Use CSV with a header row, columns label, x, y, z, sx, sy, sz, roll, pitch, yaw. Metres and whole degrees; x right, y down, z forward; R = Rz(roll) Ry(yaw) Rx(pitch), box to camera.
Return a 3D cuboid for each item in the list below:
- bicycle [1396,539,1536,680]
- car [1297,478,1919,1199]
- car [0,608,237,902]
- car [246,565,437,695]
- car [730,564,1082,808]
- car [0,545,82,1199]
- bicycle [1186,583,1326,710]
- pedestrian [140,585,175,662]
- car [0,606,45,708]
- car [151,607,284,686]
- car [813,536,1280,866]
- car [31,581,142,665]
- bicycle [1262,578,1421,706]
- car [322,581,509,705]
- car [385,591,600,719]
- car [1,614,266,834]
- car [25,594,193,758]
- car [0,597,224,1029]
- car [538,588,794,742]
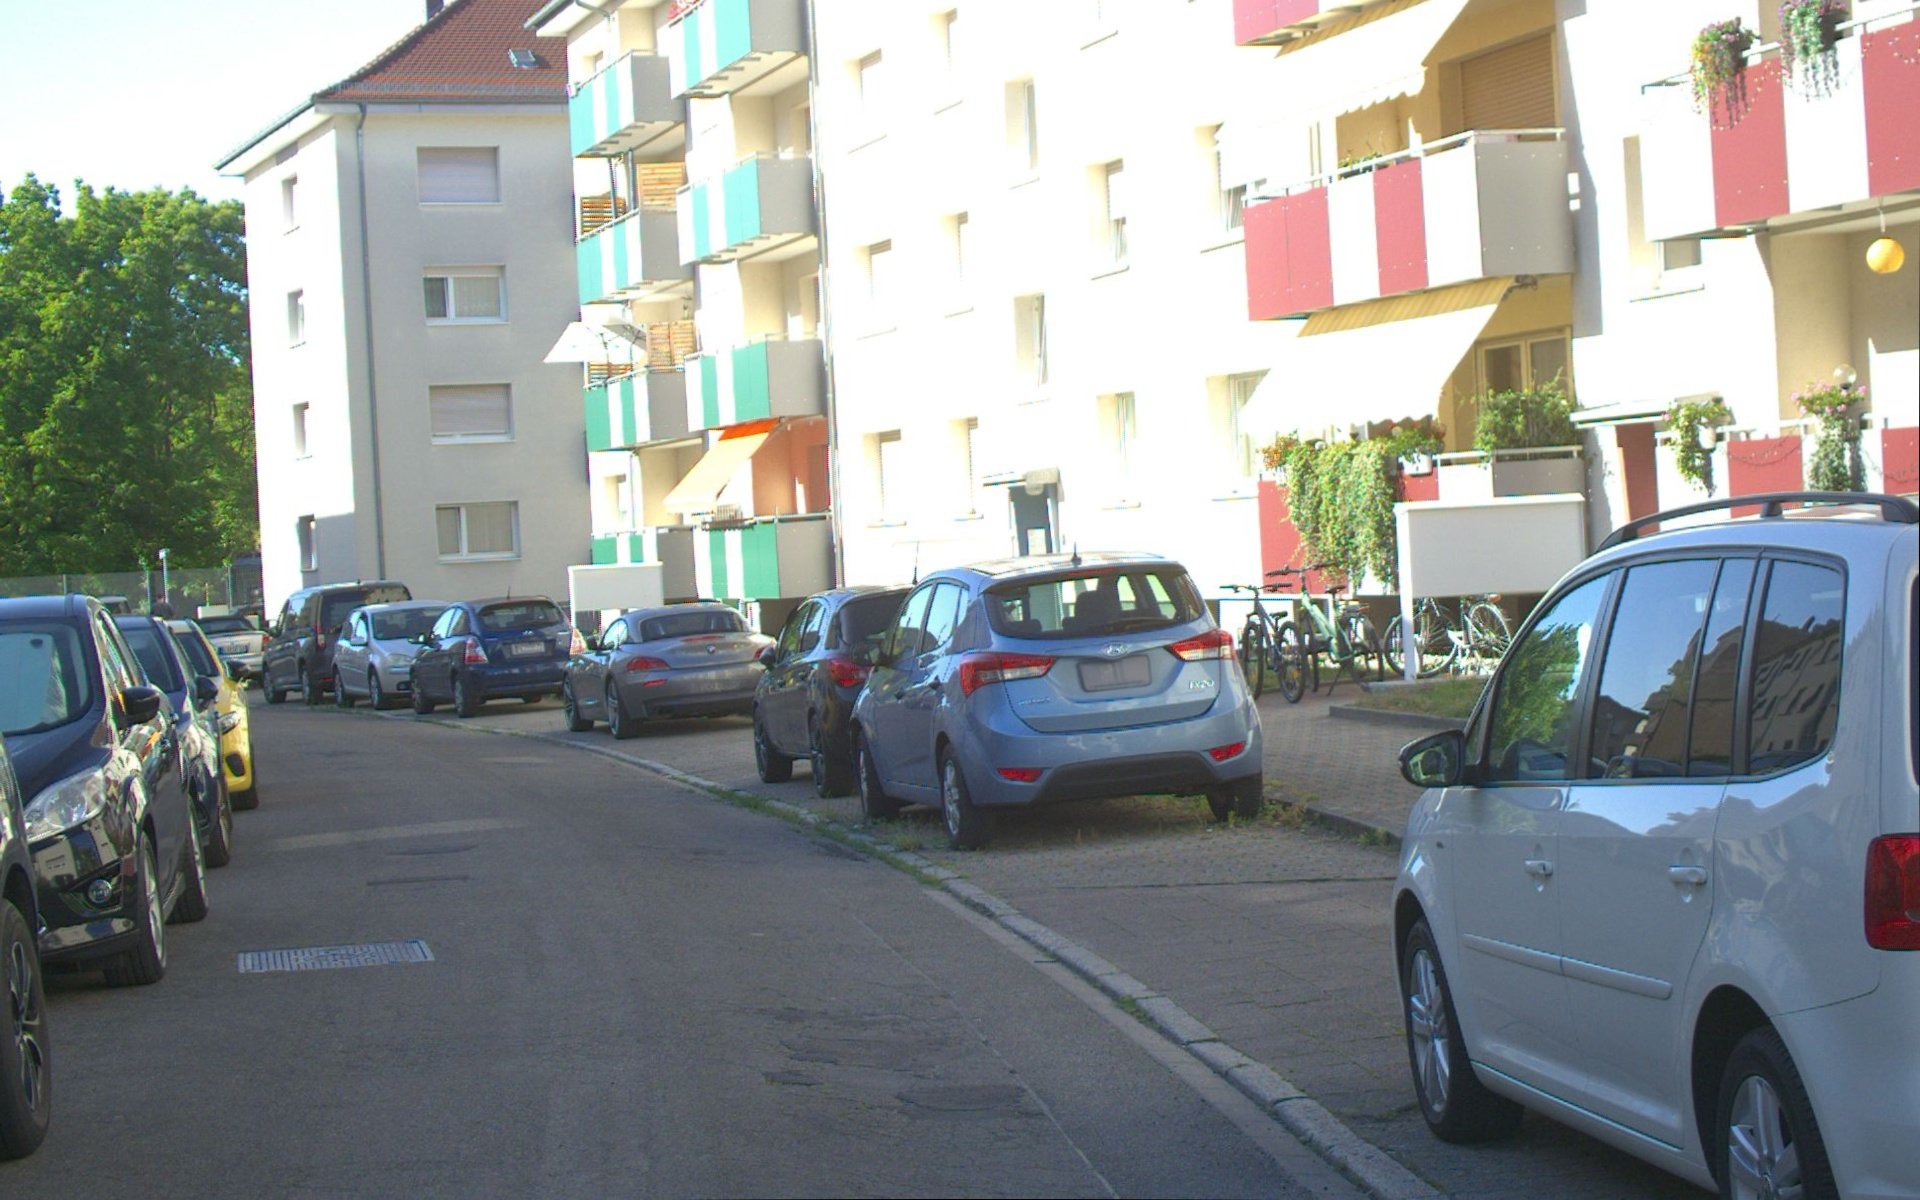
label,x,y,z,sx,sy,sz,roll,pitch,yaw
bicycle,4.337,0.082,29.571,0.407,1.146,1.763,-5,1,-16
car,2.135,0.554,8.033,1.693,1.650,4.391,-5,1,-6
car,-5.294,0.864,20.679,1.693,1.440,4.021,-5,2,-12
car,-9.759,0.501,53.994,1.896,1.849,4.344,-4,0,-24
car,-0.489,0.583,25.629,1.735,1.503,3.886,-6,1,-12
car,-3.197,0.775,7.887,1.555,1.708,4.338,-6,1,-6
bicycle,2.513,0.392,29.381,0.497,1.016,1.842,-5,1,-15
pedestrian,-19.380,0.566,83.006,0.654,1.809,0.614,-5,1,-13
car,-14.922,0.910,51.625,1.658,1.438,3.872,-5,1,-23
car,-13.826,0.842,63.874,1.717,1.359,4.056,-2,1,-22
car,0.400,0.513,20.704,1.765,1.630,4.042,-5,2,-12
car,-20.041,0.548,78.808,1.765,1.733,4.095,-5,1,-22
bicycle,3.273,0.342,29.646,0.617,0.974,1.896,-7,3,-15
car,-7.846,0.611,49.264,1.681,1.582,4.013,-5,1,-22
car,-6.131,0.703,44.682,1.737,1.427,4.357,-5,1,-20
car,-6.206,0.866,25.999,1.693,1.384,4.157,-5,1,-12
car,-9.053,0.773,36.445,1.478,1.472,3.632,-7,2,-15
car,-4.210,0.831,14.769,1.693,1.555,4.157,-4,1,-9
car,-3.143,0.643,35.996,1.685,1.358,4.241,-6,2,-17
